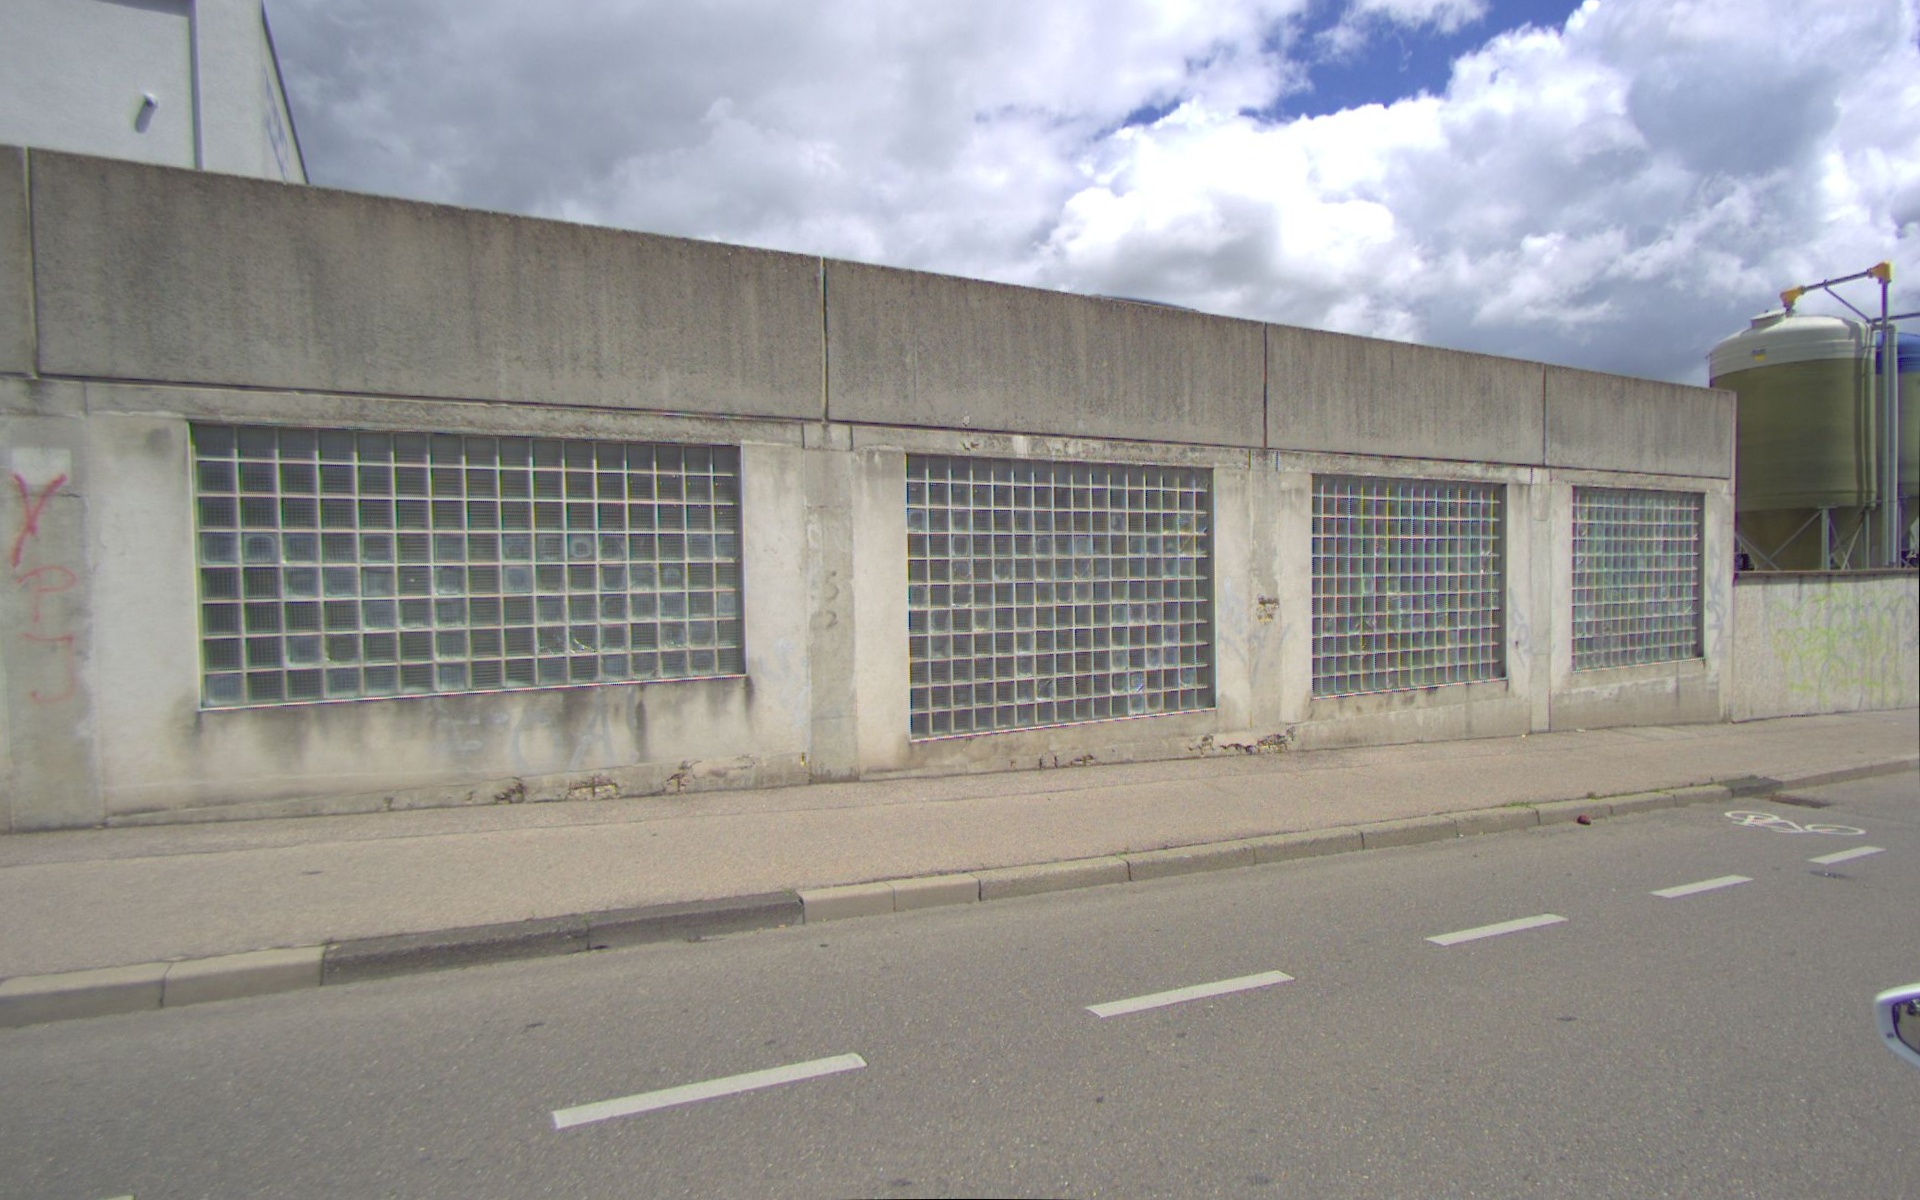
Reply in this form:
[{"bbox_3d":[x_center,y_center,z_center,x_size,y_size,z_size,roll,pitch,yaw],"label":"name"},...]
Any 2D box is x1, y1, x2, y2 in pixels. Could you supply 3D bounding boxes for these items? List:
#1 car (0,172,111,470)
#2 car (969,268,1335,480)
[{"bbox_3d":[-8.061,-1.895,6.127,4.053,1.658,1.799,2,0,-28],"label":"car"},{"bbox_3d":[2.323,-2.520,12.030,4.053,1.658,1.799,2,0,-28],"label":"car"}]
